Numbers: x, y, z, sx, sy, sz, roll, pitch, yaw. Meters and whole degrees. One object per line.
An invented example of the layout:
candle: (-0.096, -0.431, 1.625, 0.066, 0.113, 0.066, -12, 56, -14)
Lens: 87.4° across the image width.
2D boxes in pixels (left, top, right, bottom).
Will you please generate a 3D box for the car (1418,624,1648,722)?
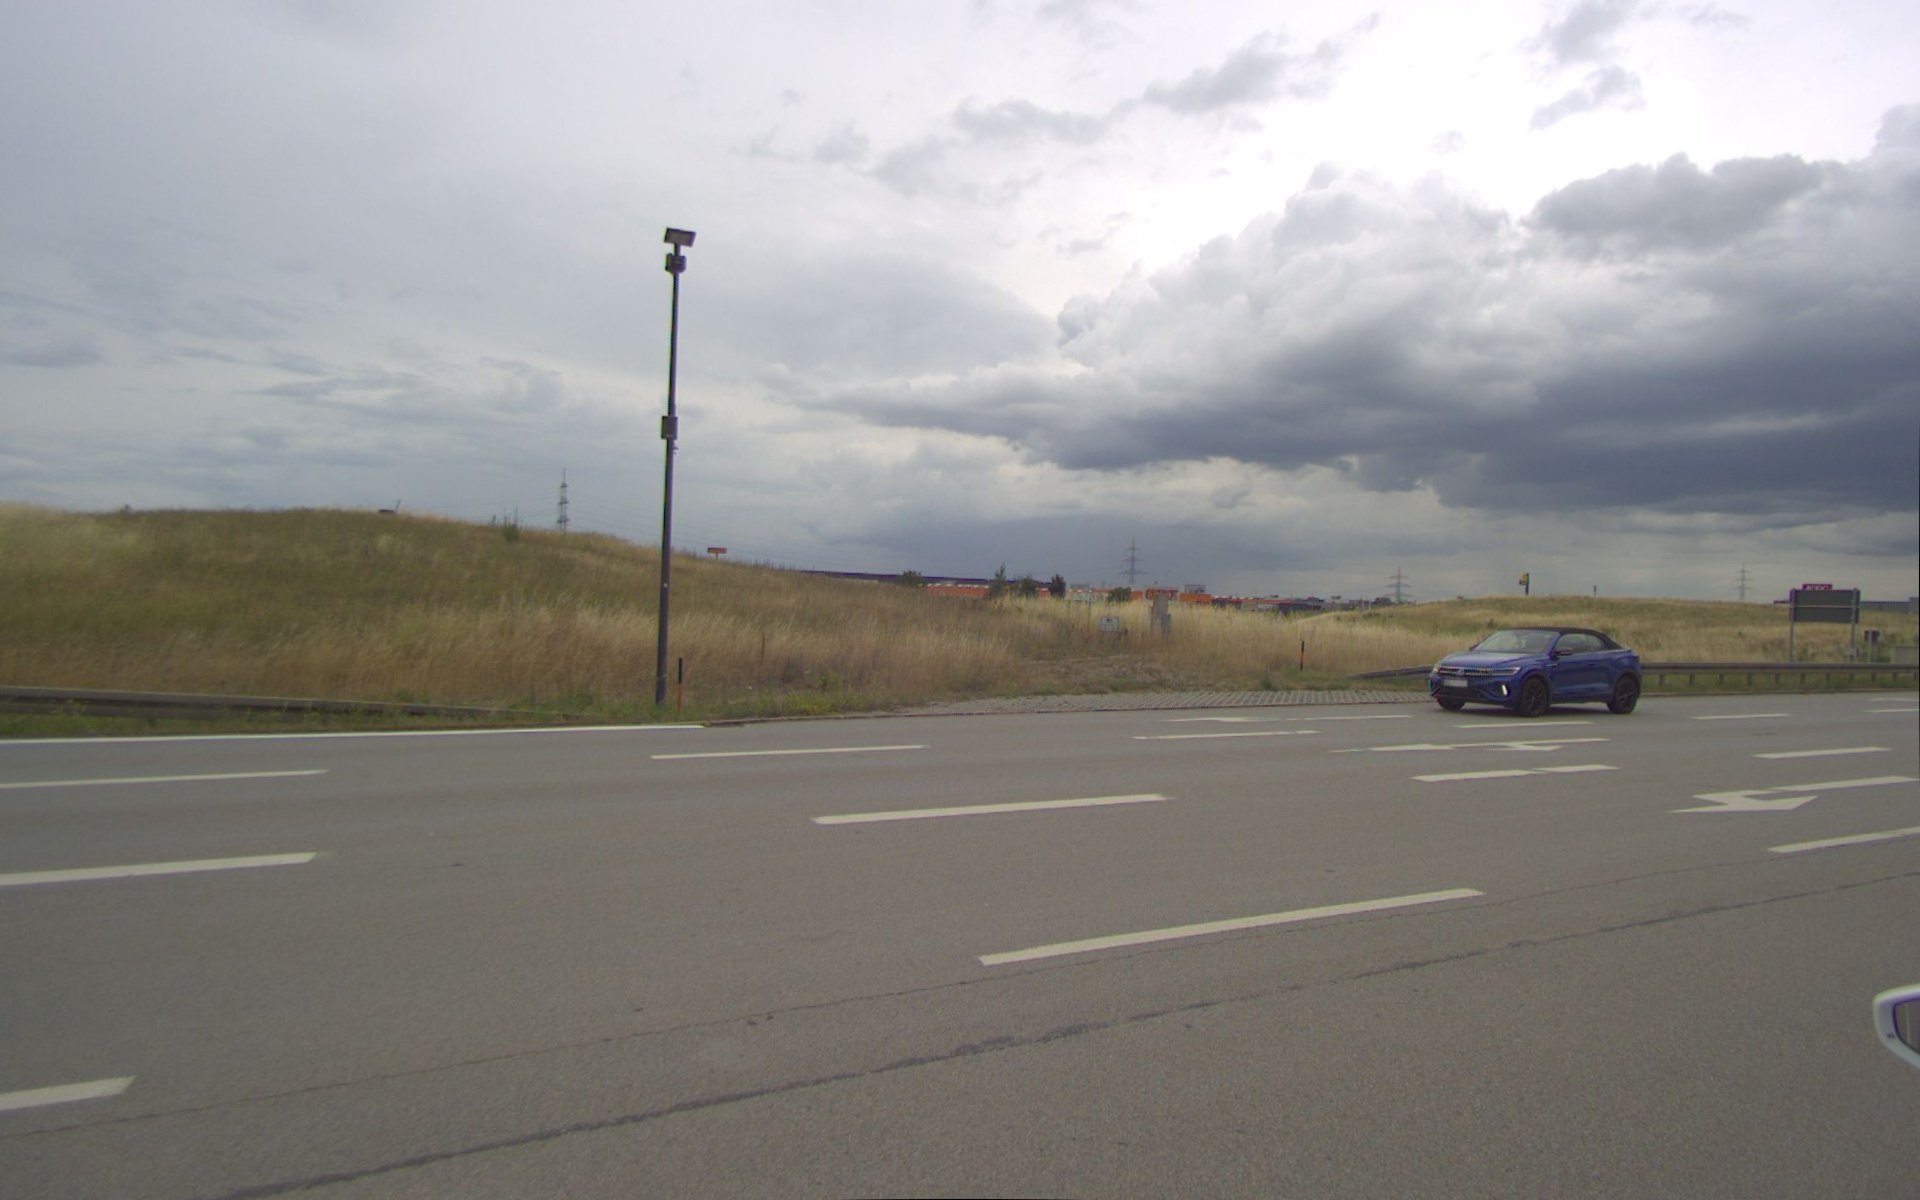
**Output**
car: (10.513, 1.287, 18.394, 3.949, 1.571, 1.791, 2, 0, -27)
